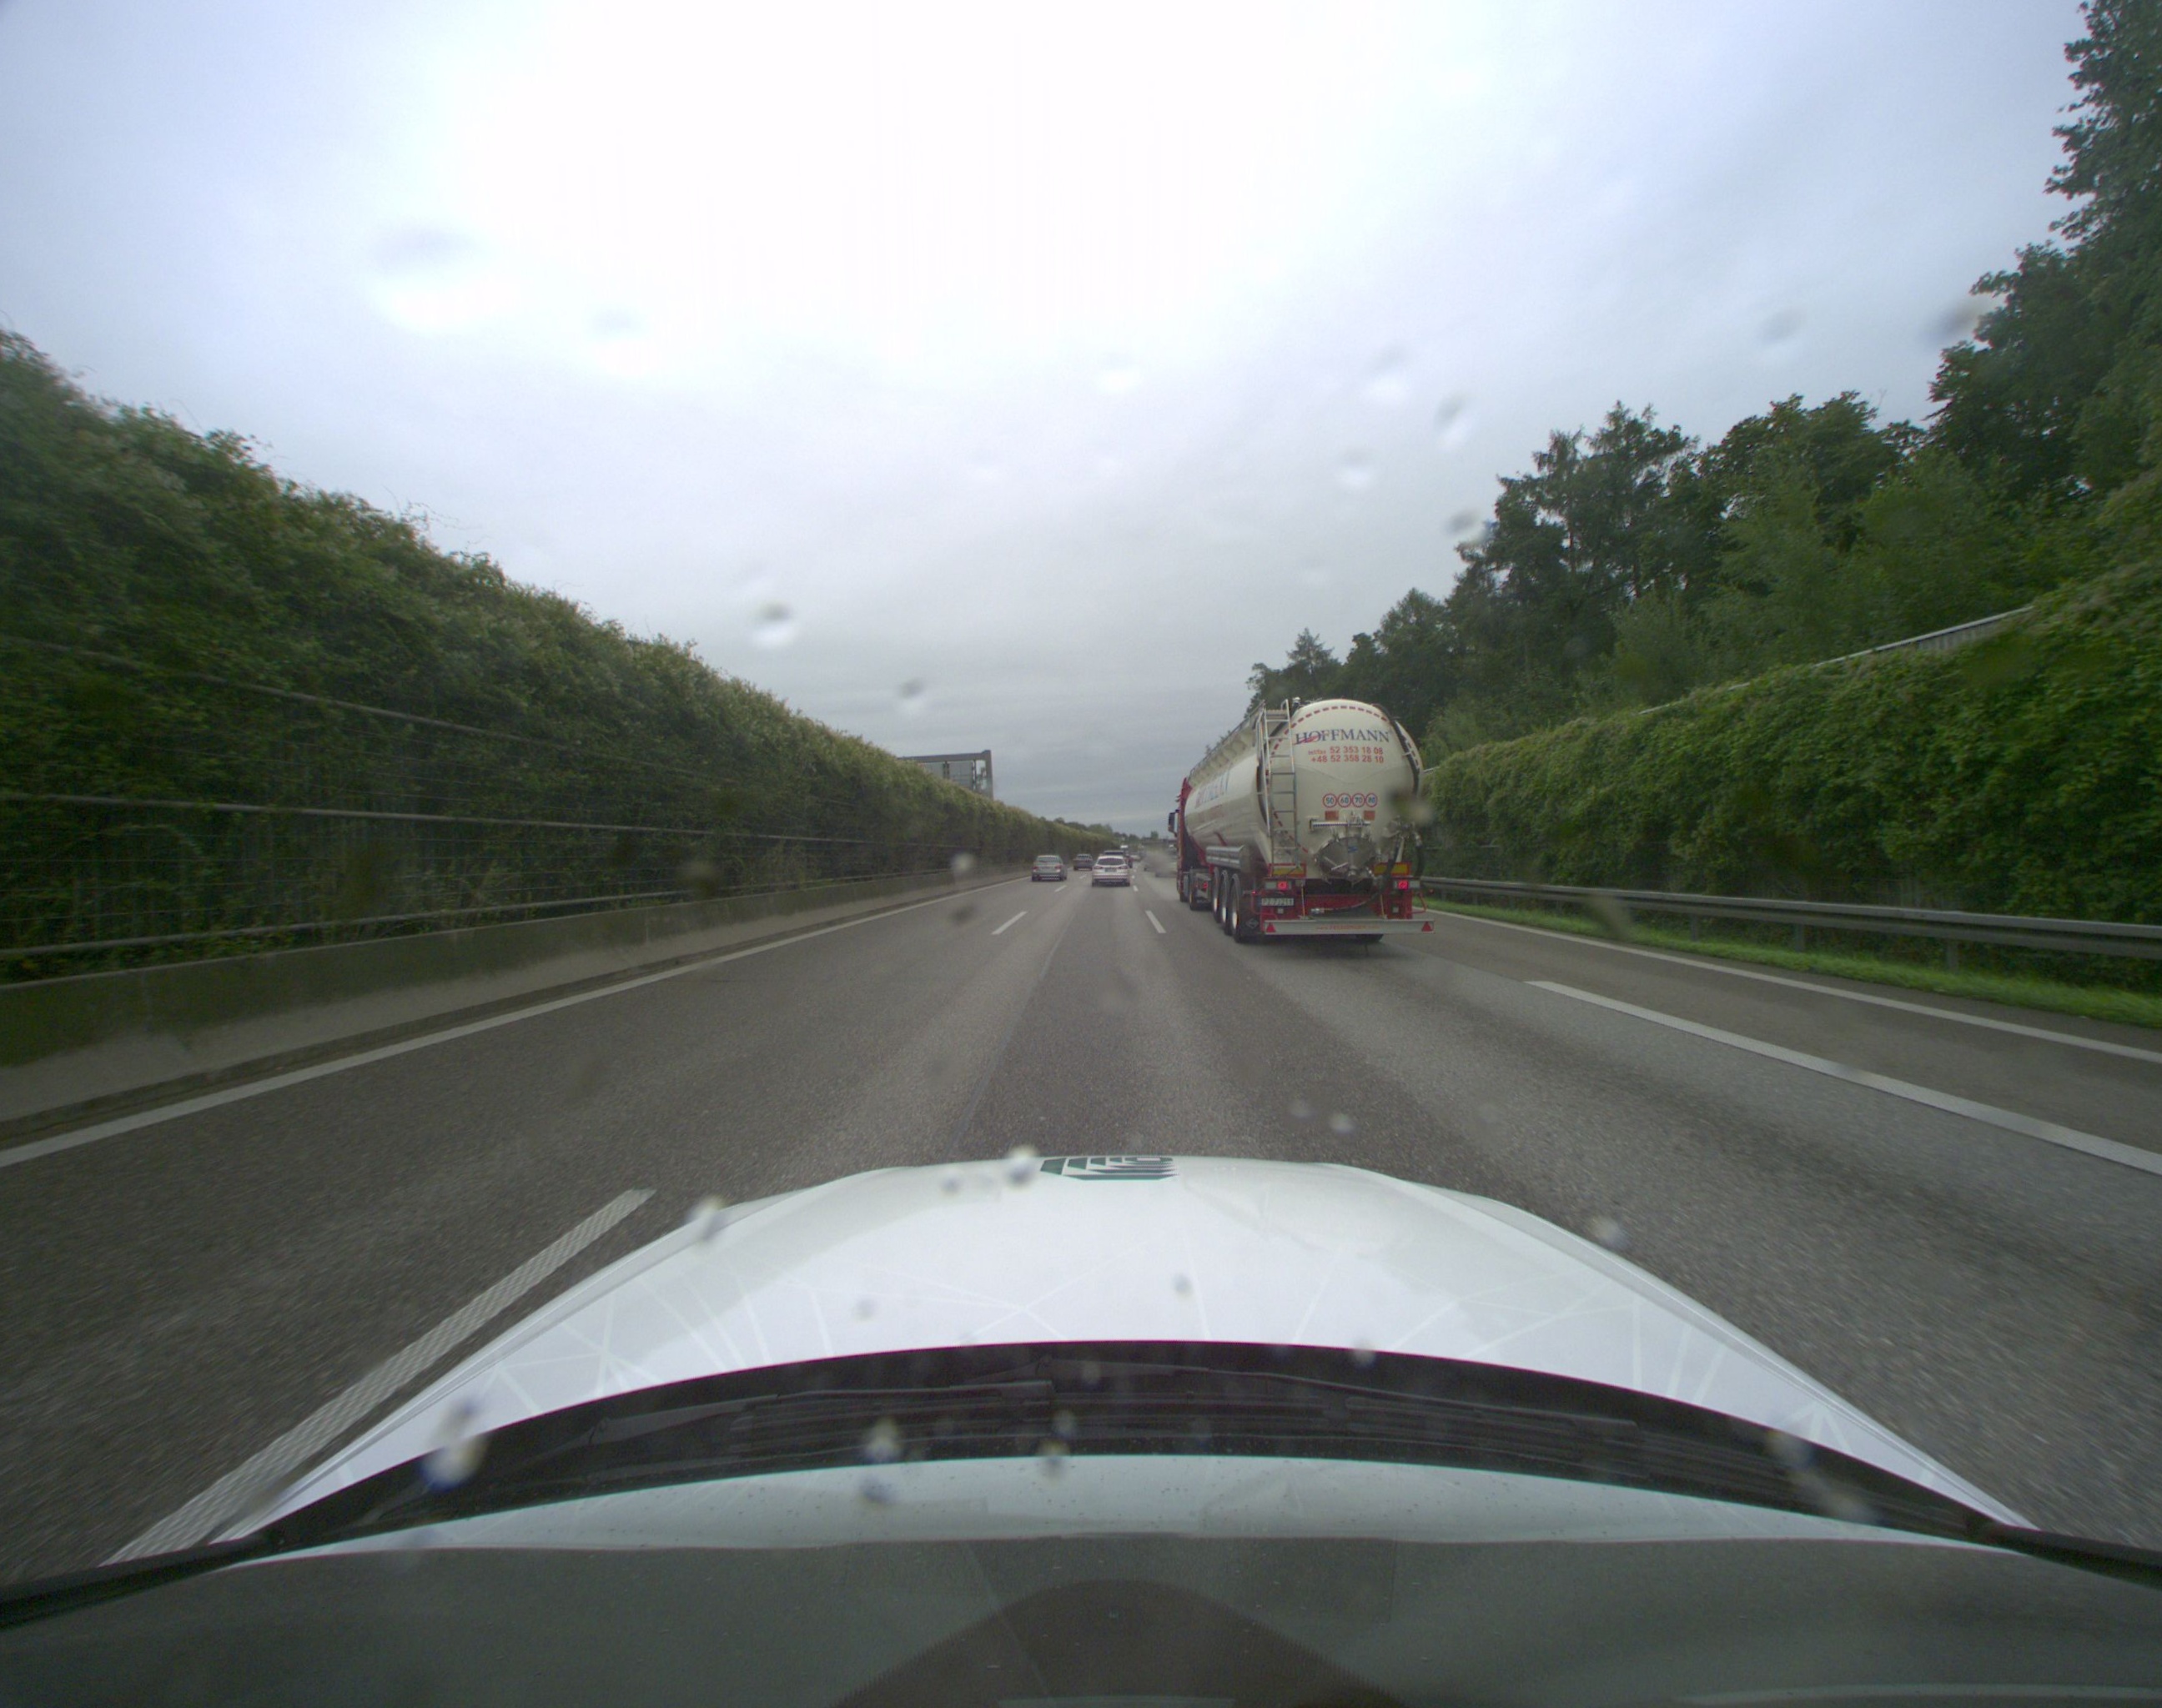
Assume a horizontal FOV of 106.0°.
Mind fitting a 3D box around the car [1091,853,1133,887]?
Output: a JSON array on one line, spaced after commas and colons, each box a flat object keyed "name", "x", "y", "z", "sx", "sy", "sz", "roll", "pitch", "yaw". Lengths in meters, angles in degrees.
[{"name": "car", "x": 1.532, "y": 0.734, "z": 40.104, "sx": 1.884, "sy": 1.504, "sz": 5.033, "roll": -1, "pitch": 0, "yaw": 2}]

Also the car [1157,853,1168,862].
[{"name": "car", "x": 14.791, "y": 0.565, "z": 147.955, "sx": 1.681, "sy": 1.539, "sz": 3.875, "roll": -1, "pitch": 0, "yaw": 4}]

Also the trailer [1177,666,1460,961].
[{"name": "trailer", "x": 3.976, "y": -0.503, "z": 17.598, "sx": 2.658, "sy": 3.939, "sz": 13.135, "roll": -1, "pitch": 0, "yaw": 2}]

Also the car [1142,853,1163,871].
[{"name": "car", "x": 6.255, "y": 0.698, "z": 71.667, "sx": 1.681, "sy": 1.506, "sz": 3.875, "roll": -1, "pitch": 0, "yaw": 4}]

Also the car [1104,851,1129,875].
[{"name": "car", "x": 2.537, "y": 0.589, "z": 58.554, "sx": 1.683, "sy": 1.506, "sz": 3.873, "roll": 3, "pitch": 1, "yaw": 1}]

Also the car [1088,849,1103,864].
[{"name": "car", "x": 2.062, "y": 0.353, "z": 115.982, "sx": 1.987, "sy": 2.013, "sz": 3.841, "roll": -1, "pitch": 0, "yaw": 1}]

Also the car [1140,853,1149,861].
[{"name": "car", "x": 12.656, "y": 0.576, "z": 161.975, "sx": 1.680, "sy": 1.539, "sz": 3.877, "roll": -1, "pitch": 0, "yaw": 5}]

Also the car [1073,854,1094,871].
[{"name": "car", "x": 0.270, "y": 0.775, "z": 74.983, "sx": 1.713, "sy": 1.512, "sz": 5.034, "roll": -1, "pitch": 0, "yaw": 3}]

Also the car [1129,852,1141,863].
[{"name": "car", "x": 8.764, "y": 0.581, "z": 132.754, "sx": 1.781, "sy": 1.779, "sz": 3.877, "roll": -2, "pitch": 0, "yaw": 5}]

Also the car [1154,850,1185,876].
[{"name": "car", "x": 5.805, "y": 0.555, "z": 53.993, "sx": 1.808, "sy": 1.625, "sz": 5.035, "roll": -1, "pitch": 0, "yaw": 4}]

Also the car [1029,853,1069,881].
[{"name": "car", "x": -1.824, "y": 0.708, "z": 47.959, "sx": 1.712, "sy": 1.469, "sz": 5.037, "roll": -1, "pitch": 0, "yaw": 5}]

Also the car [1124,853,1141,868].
[{"name": "car", "x": 5.338, "y": 0.630, "z": 84.858, "sx": 1.682, "sy": 1.506, "sz": 3.875, "roll": -1, "pitch": 0, "yaw": 3}]

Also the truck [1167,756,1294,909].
[{"name": "truck", "x": 4.227, "y": -0.533, "z": 24.421, "sx": 2.685, "sy": 3.912, "sz": 6.558, "roll": -1, "pitch": -1, "yaw": 2}]
